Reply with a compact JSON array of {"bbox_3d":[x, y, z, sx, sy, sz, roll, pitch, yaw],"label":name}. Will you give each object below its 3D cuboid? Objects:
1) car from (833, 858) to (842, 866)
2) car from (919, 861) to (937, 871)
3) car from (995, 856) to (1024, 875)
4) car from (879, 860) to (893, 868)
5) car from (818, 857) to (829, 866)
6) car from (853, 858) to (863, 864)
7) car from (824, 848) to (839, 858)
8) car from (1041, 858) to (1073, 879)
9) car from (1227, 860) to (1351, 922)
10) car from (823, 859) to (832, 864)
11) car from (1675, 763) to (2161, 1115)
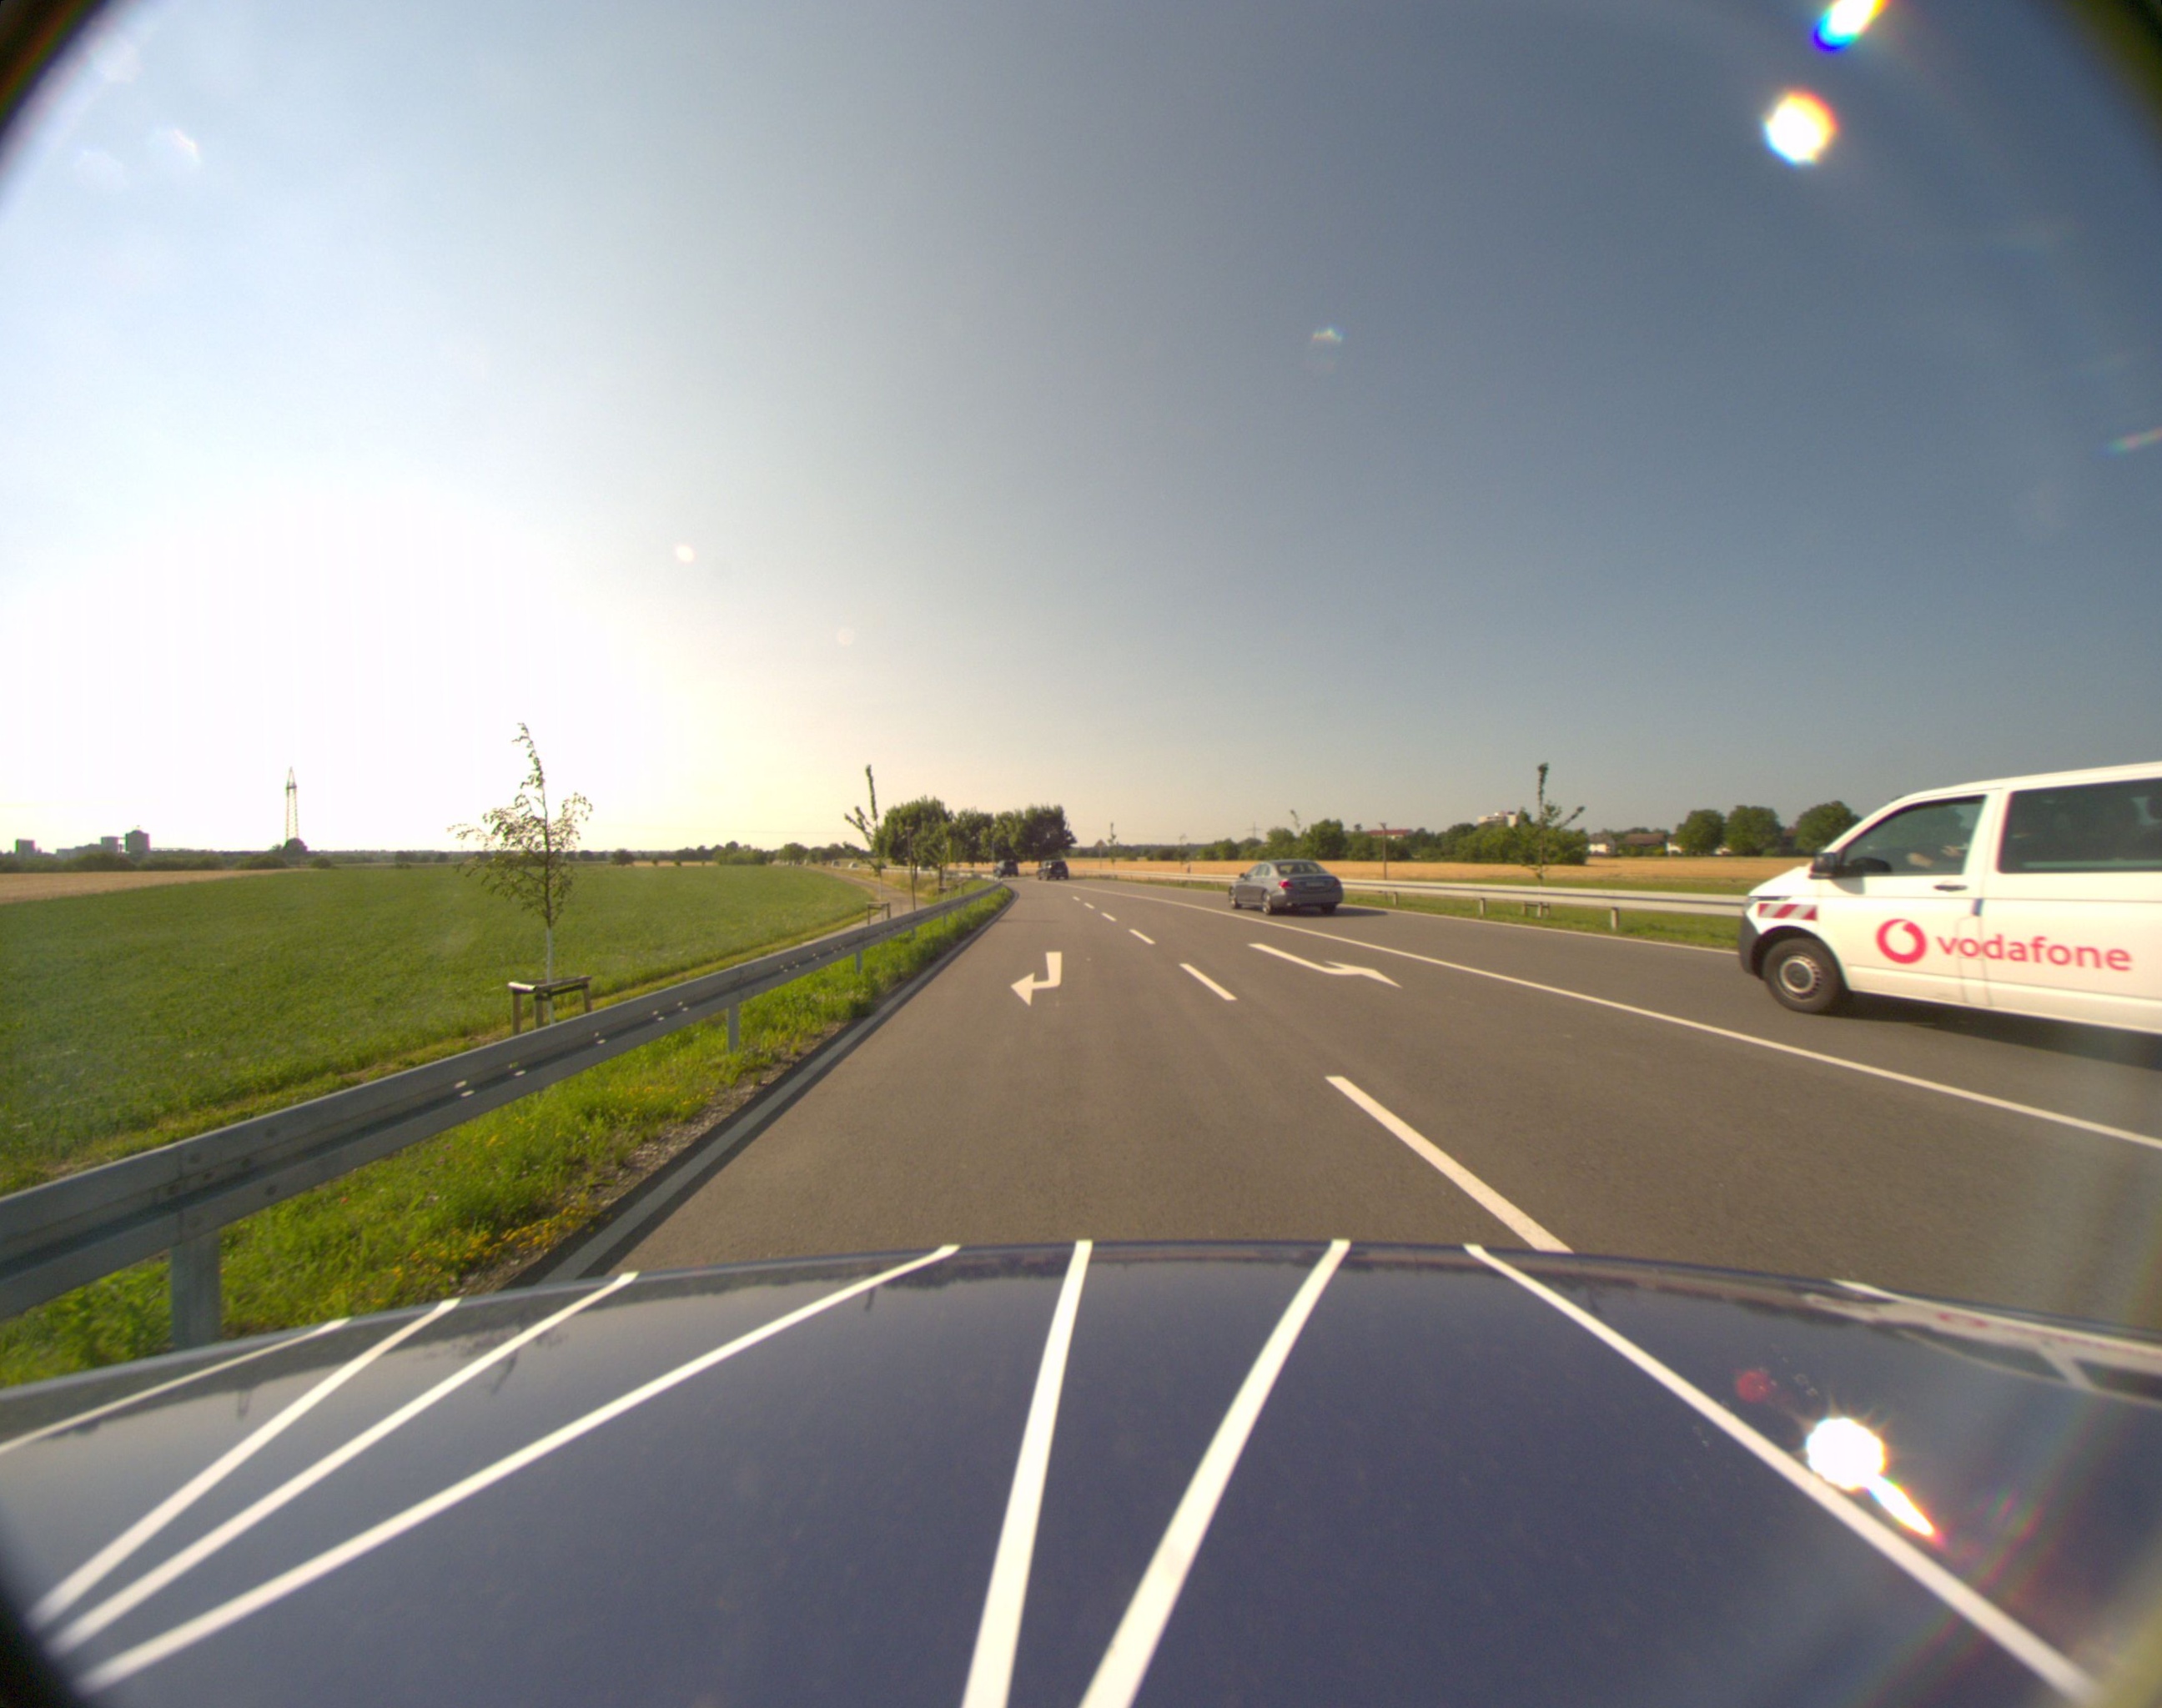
[{"bbox_3d":[-69.620,2.281,217.434,1.920,2.002,4.773,-3,2,-24],"label":"car"},{"bbox_3d":[-24.564,1.847,121.920,1.861,1.440,4.145,-3,1,-26],"label":"car"},{"bbox_3d":[-7.726,1.221,81.631,1.890,1.788,5.082,-3,2,-19],"label":"car"},{"bbox_3d":[-39.130,1.994,152.569,1.845,1.535,4.235,-4,3,-25],"label":"car"},{"bbox_3d":[-63.560,1.817,187.552,1.792,2.002,3.991,-3,2,-26],"label":"car"},{"bbox_3d":[-55.479,1.711,188.594,1.759,1.421,3.838,-3,1,-25],"label":"car"},{"bbox_3d":[-54.691,-0.180,166.579,2.819,2.002,6.091,-3,1,-20],"label":"car"},{"bbox_3d":[-2.067,1.219,64.509,2.000,1.583,4.859,-2,0,-10],"label":"car"},{"bbox_3d":[5.649,0.931,21.339,1.800,1.440,4.703,-3,0,-5],"label":"car"},{"bbox_3d":[-83.265,2.454,249.630,2.018,1.576,4.816,-1,1,-25],"label":"car"},{"bbox_3d":[7.160,0.465,5.075,2.120,2.001,5.154,-3,-2,-2],"label":"car"}]
